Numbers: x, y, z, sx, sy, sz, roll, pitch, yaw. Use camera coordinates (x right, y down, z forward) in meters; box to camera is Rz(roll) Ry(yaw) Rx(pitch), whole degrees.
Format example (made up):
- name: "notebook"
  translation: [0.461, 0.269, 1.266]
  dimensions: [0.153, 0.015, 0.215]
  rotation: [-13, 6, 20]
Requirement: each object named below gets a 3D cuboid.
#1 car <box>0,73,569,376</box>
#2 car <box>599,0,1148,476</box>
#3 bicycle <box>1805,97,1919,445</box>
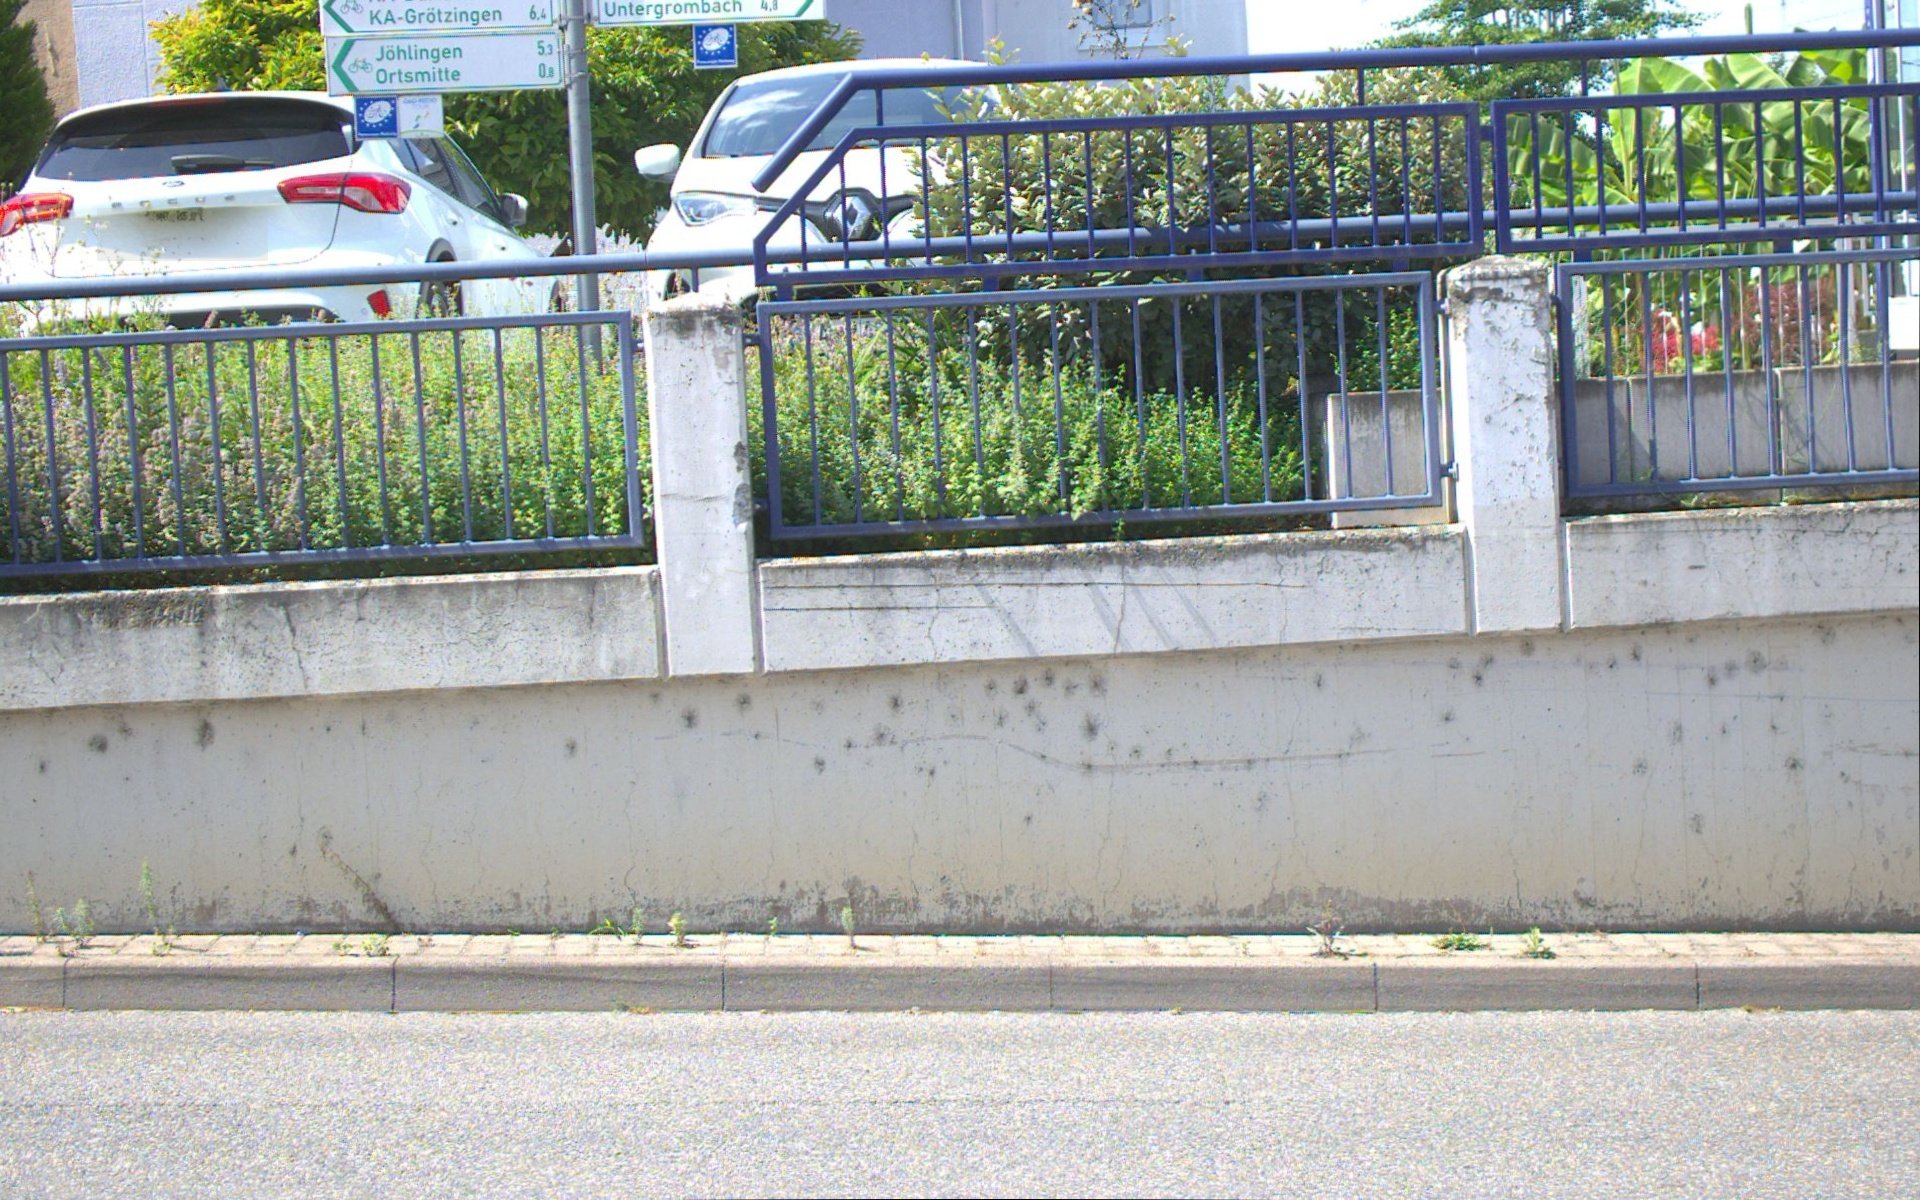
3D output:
- name: "car"
  translation: [-2.878, -1.546, 14.832]
  dimensions: [1.825, 1.016, 3.459]
  rotation: [1, 2, 3]
- name: "car"
  translation: [-0.228, -1.453, 14.725]
  dimensions: [1.994, 1.791, 4.197]
  rotation: [1, 2, 3]
- name: "bicycle"
  translation: [3.913, -1.119, 11.433]
  dimensions: [2.114, 1.122, 0.333]
  rotation: [-2, 4, -3]
